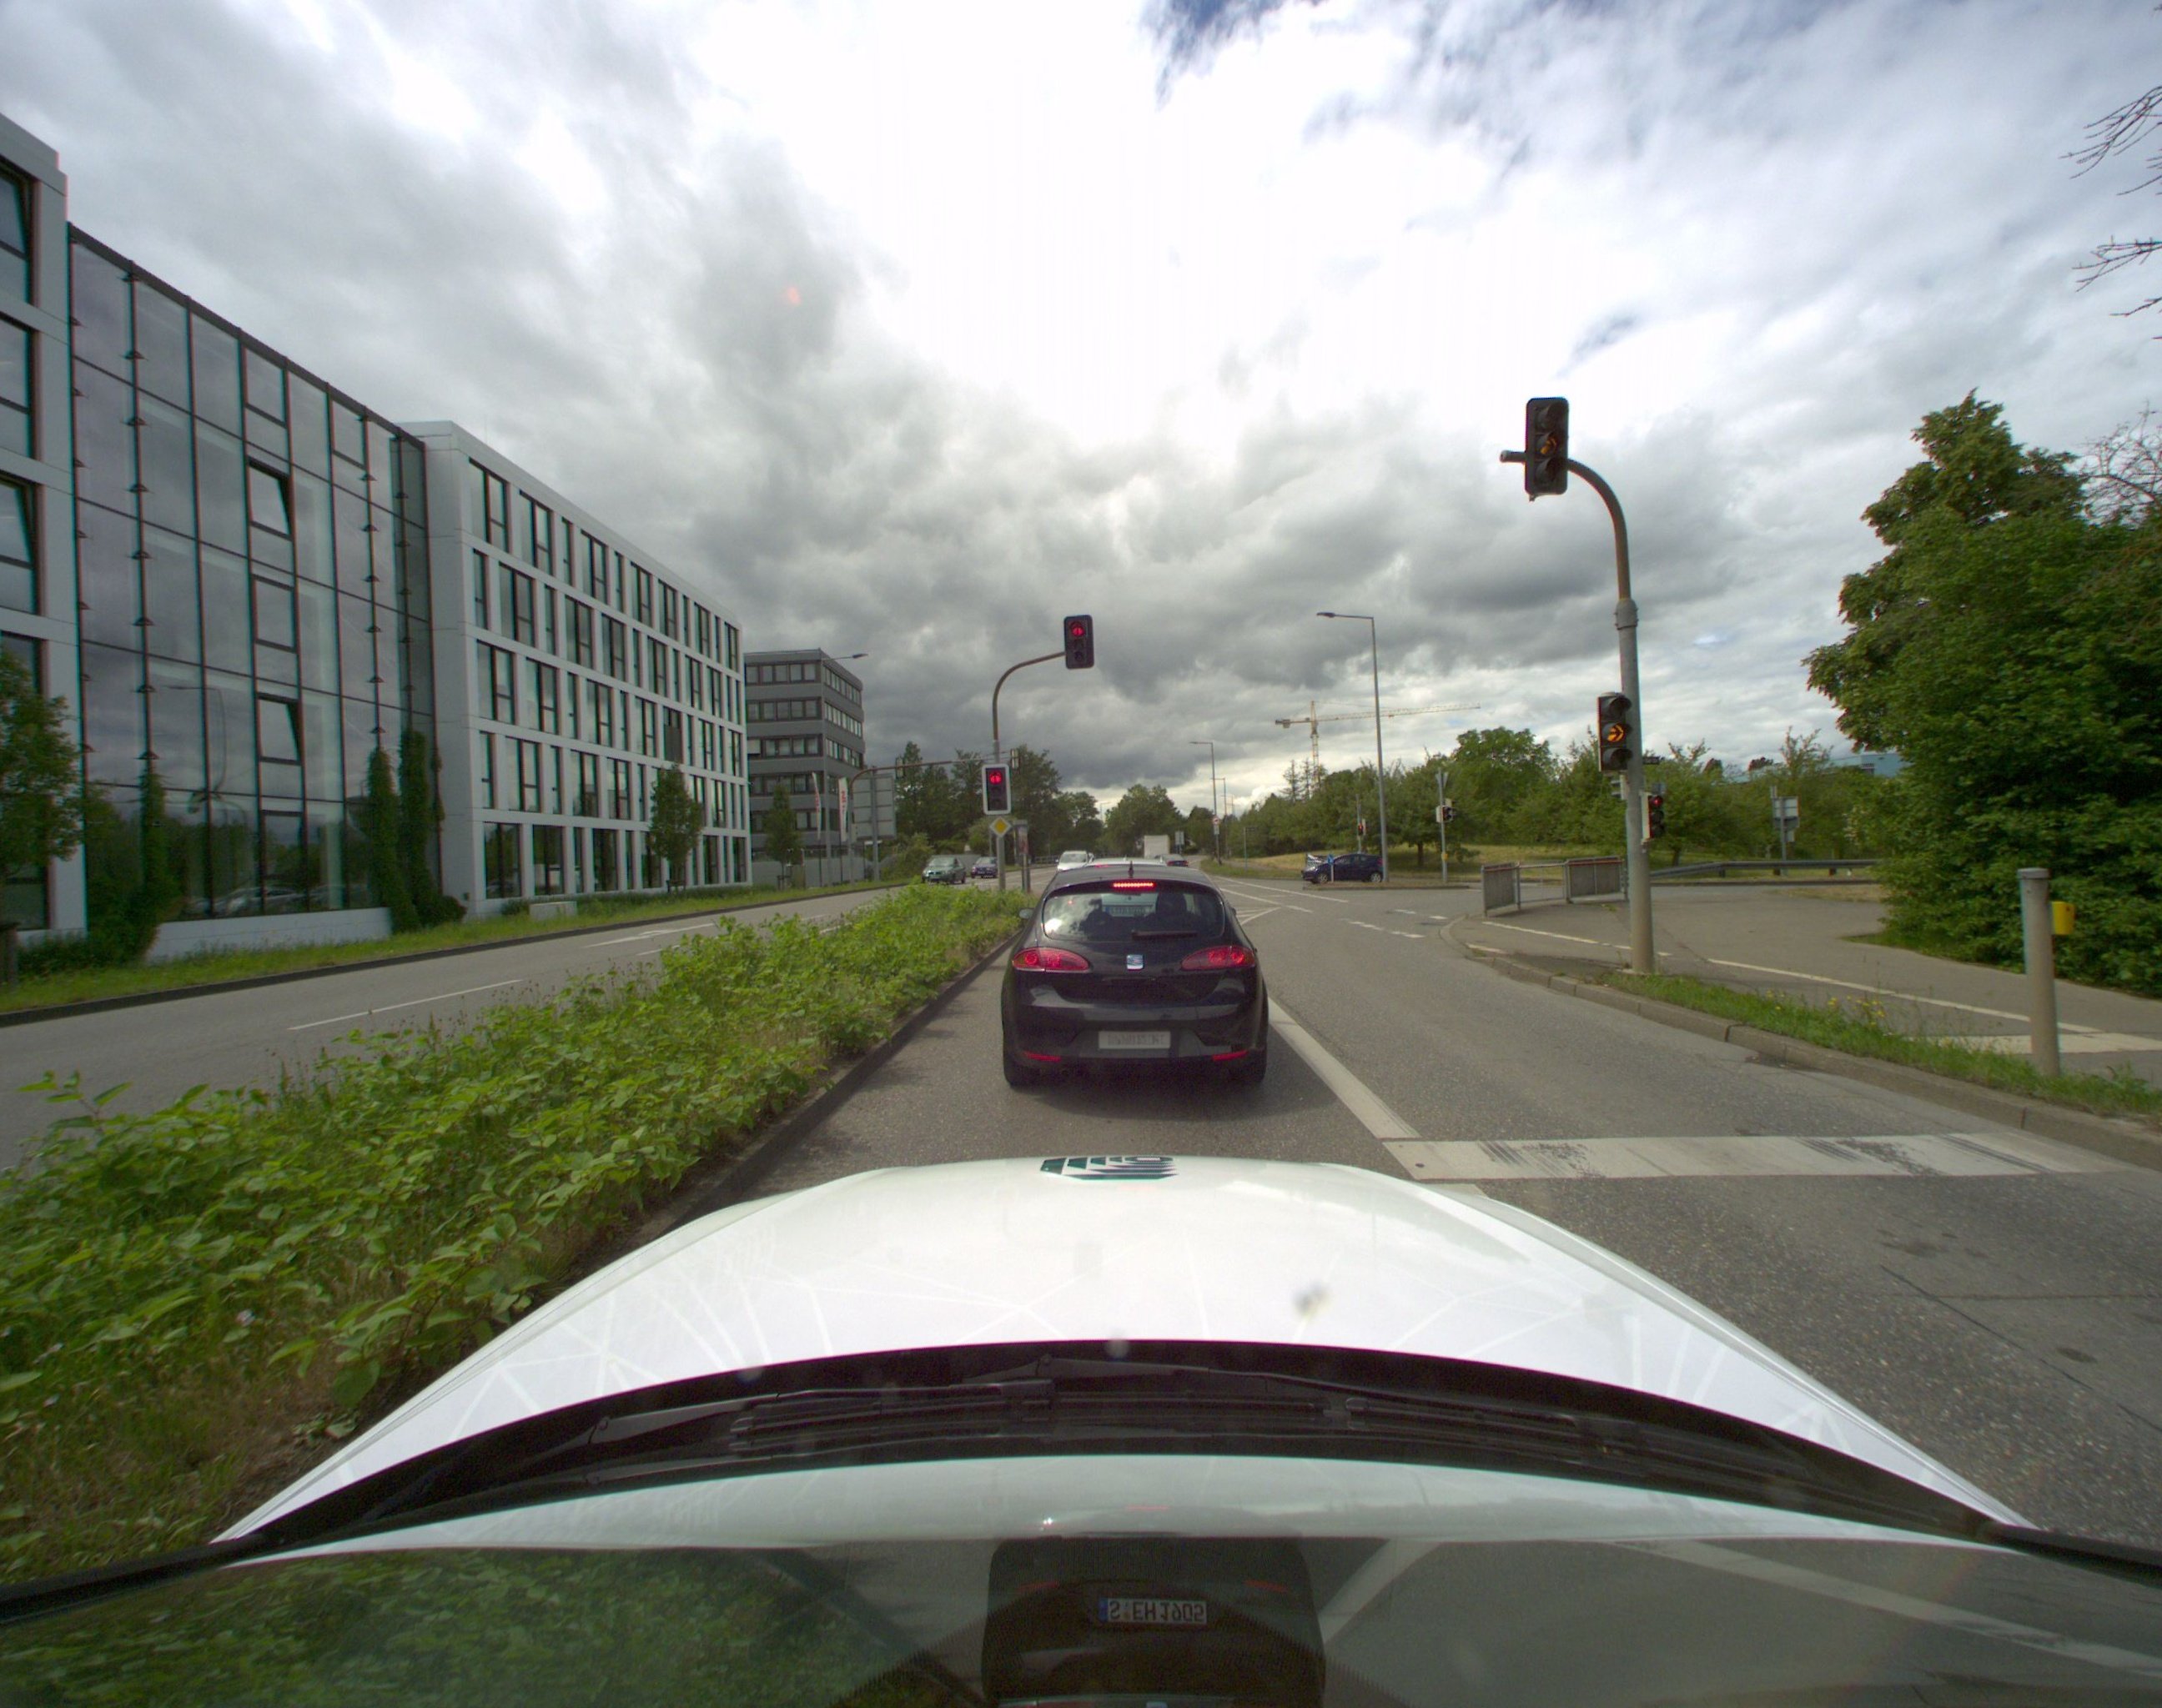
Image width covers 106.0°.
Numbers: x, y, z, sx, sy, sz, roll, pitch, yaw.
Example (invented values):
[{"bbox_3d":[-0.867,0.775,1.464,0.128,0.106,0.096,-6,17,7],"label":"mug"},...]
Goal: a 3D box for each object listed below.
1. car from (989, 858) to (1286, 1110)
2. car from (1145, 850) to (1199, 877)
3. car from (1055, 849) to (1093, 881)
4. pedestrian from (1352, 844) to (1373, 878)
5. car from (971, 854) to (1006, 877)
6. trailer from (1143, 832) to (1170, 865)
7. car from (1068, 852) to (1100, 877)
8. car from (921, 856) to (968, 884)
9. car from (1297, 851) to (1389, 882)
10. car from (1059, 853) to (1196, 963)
[{"bbox_3d":[0.387,0.764,6.449,1.704,1.417,3.461,-1,0,2],"label":"car"},{"bbox_3d":[5.578,0.545,50.682,1.995,1.565,4.452,-1,0,-12],"label":"car"},{"bbox_3d":[-0.357,0.595,46.362,1.812,1.686,4.650,0,0,4],"label":"car"},{"bbox_3d":[15.022,0.349,43.476,0.717,1.793,1.042,0,-1,-5],"label":"pedestrian"},{"bbox_3d":[-6.133,0.769,54.542,1.546,1.419,3.902,-1,0,5],"label":"car"},{"bbox_3d":[7.337,-0.523,78.769,2.479,3.073,5.595,0,-1,5],"label":"trailer"},{"bbox_3d":[0.210,0.643,52.430,1.652,1.518,4.091,-1,0,6],"label":"car"},{"bbox_3d":[-7.295,0.833,43.854,1.598,1.432,3.757,-1,0,4],"label":"car"},{"bbox_3d":[12.425,0.589,38.771,3.861,1.446,1.762,0,-1,4],"label":"car"},{"bbox_3d":[0.723,0.742,12.775,1.827,1.467,3.754,0,0,3],"label":"car"}]
